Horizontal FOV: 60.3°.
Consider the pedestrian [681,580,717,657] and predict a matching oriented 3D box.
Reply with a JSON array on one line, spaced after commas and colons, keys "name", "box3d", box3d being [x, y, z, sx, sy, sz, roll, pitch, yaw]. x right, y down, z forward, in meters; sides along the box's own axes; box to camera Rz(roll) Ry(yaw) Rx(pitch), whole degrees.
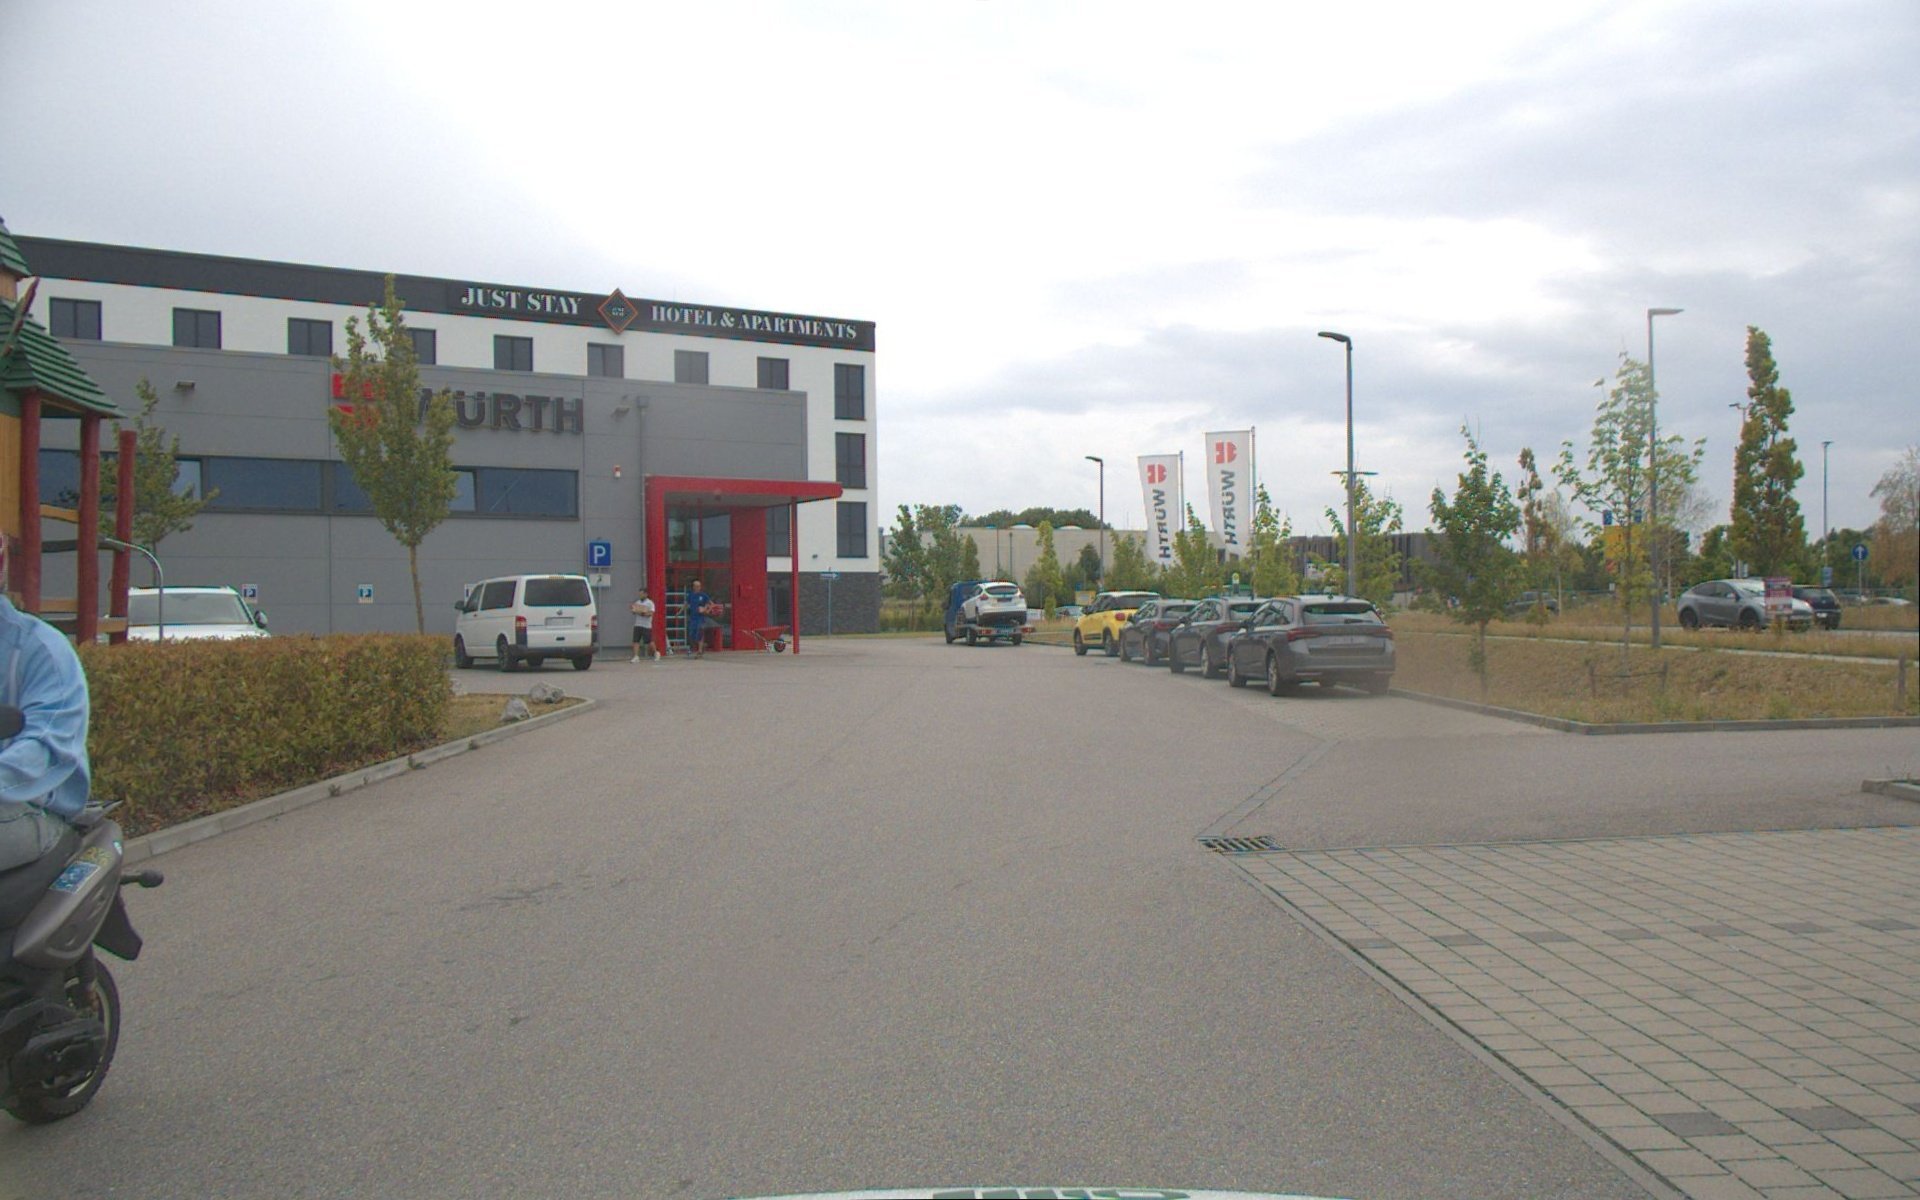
[{"name": "pedestrian", "box3d": [-6.301, 0.445, 39.931, 0.662, 1.834, 0.881, -1, 0, 4]}]

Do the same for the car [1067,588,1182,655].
[{"name": "car", "box3d": [4.344, 0.579, 44.260, 1.825, 1.679, 3.985, 1, -1, -14]}]

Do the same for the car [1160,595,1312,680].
[{"name": "car", "box3d": [5.158, 0.665, 31.477, 1.718, 1.495, 4.470, 0, 0, -6]}]

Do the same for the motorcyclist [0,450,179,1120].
[{"name": "motorcyclist", "box3d": [-2.591, 0.423, 4.163, 0.811, 1.515, 0.941, 0, -1, -2]}]

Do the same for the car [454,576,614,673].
[{"name": "car", "box3d": [-9.206, 0.539, 35.563, 2.038, 1.887, 4.012, -3, 0, -34]}]

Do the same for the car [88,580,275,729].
[{"name": "car", "box3d": [-10.319, 0.671, 21.774, 1.971, 1.679, 4.536, -2, 0, -28]}]

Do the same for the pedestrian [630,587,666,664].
[{"name": "pedestrian", "box3d": [-7.320, 0.582, 38.856, 0.610, 1.782, 0.906, -1, 0, 4]}]

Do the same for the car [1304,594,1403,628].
[{"name": "car", "box3d": [17.332, 0.487, 73.038, 1.742, 1.419, 4.517, -1, 0, -27]}]

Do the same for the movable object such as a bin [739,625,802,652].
[{"name": "movable object such as a bin", "box3d": [-5.129, 1.045, 44.835, 1.470, 0.716, 0.957, 0, -1, -26]}]

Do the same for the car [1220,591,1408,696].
[{"name": "car", "box3d": [5.394, 0.623, 25.761, 1.717, 1.495, 4.472, 0, 0, -4]}]

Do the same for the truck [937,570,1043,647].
[{"name": "truck", "box3d": [0.988, 0.403, 60.567, 2.290, 2.449, 7.873, 1, -3, -11]}]

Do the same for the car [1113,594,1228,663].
[{"name": "car", "box3d": [4.738, 0.618, 37.816, 1.718, 1.495, 4.102, 0, 0, -6]}]

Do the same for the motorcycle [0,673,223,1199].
[{"name": "motorcycle", "box3d": [-2.650, 0.833, 4.162, 0.776, 1.229, 1.920, 0, -1, -2]}]

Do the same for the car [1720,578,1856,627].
[{"name": "car", "box3d": [27.811, 0.078, 55.713, 1.888, 1.512, 4.412, -2, 0, -8]}]

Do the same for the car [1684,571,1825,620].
[{"name": "car", "box3d": [24.360, -0.140, 50.894, 1.729, 1.419, 4.551, -1, 0, -7]}]

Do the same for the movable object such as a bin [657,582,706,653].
[{"name": "movable object such as a bin", "box3d": [-6.912, 0.432, 41.009, 0.901, 1.701, 0.735, -4, 1, -32]}]
